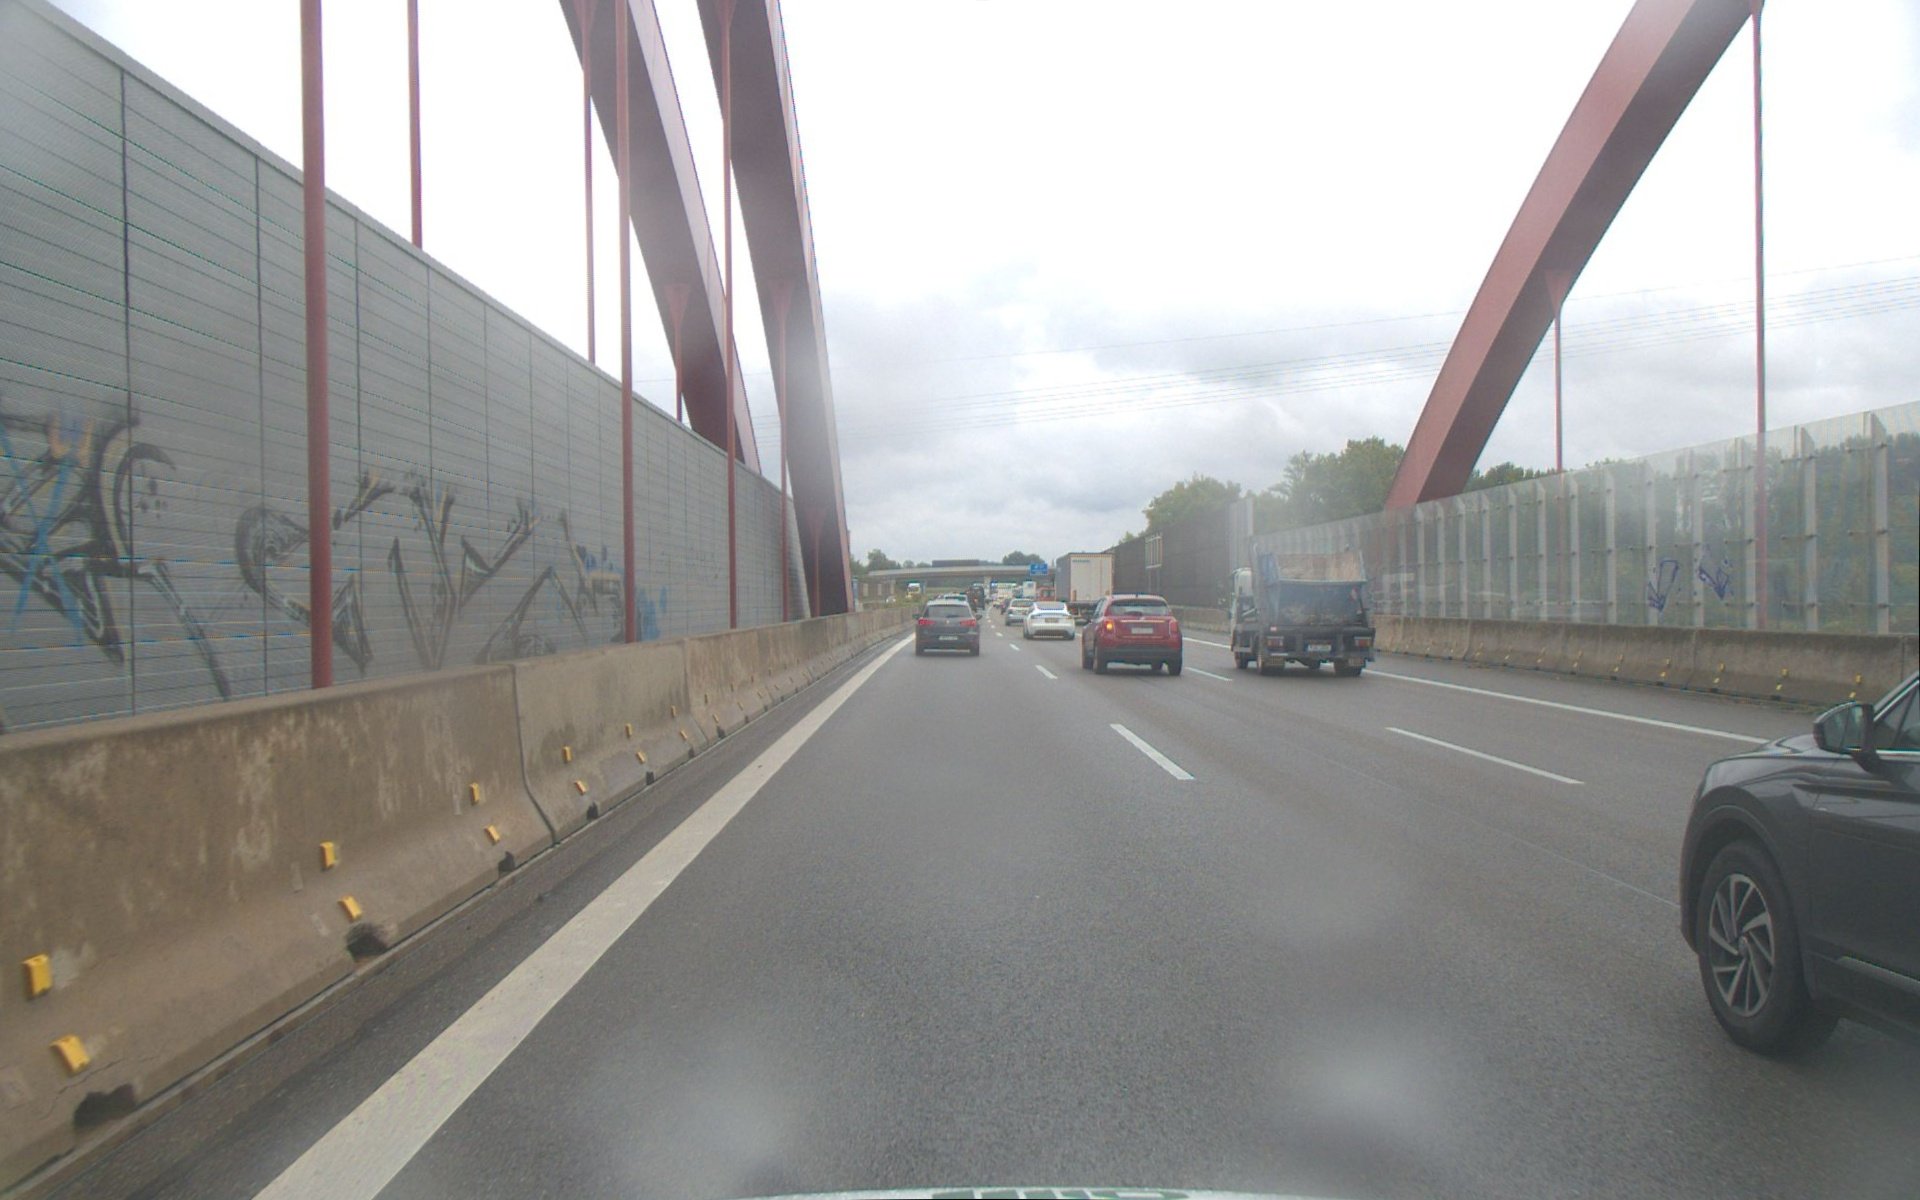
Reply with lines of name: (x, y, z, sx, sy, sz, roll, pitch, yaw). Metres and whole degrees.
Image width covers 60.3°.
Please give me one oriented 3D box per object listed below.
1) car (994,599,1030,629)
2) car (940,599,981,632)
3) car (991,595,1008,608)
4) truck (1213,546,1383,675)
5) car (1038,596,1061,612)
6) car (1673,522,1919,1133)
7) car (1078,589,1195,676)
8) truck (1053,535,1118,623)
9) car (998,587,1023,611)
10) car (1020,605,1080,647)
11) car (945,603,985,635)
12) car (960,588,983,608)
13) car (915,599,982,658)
car: (2.846, 0.742, 90.594, 1.668, 1.570, 3.836, 0, 0, -3)
car: (-0.006, 0.687, 75.747, 1.746, 1.431, 3.625, 0, 0, -2)
car: (4.723, 0.173, 199.748, 1.953, 1.545, 4.000, 0, 0, 0)
truck: (7.184, 0.191, 35.911, 2.313, 2.550, 6.142, 0, 0, -1)
car: (8.678, 0.375, 160.725, 1.953, 1.545, 4.000, 0, 0, 0)
car: (3.633, 0.640, 4.053, 1.873, 1.699, 4.102, 0, 0, -3)
car: (3.635, 0.627, 34.722, 1.918, 1.676, 3.999, 0, 1, -2)
truck: (7.197, -1.181, 95.960, 2.983, 4.817, 7.678, 1, 0, -1)
car: (4.411, -0.065, 144.582, 1.953, 2.049, 3.999, 1, 0, -1)
car: (3.400, 0.973, 63.273, 1.953, 1.512, 3.998, 0, 0, -2)
car: (0.258, 1.003, 89.102, 1.953, 1.612, 3.998, -1, 0, -3)
car: (1.069, -0.203, 153.911, 1.953, 1.847, 3.999, 0, 0, -1)
car: (-0.328, 0.729, 44.408, 1.728, 1.478, 3.999, 0, 0, -1)
